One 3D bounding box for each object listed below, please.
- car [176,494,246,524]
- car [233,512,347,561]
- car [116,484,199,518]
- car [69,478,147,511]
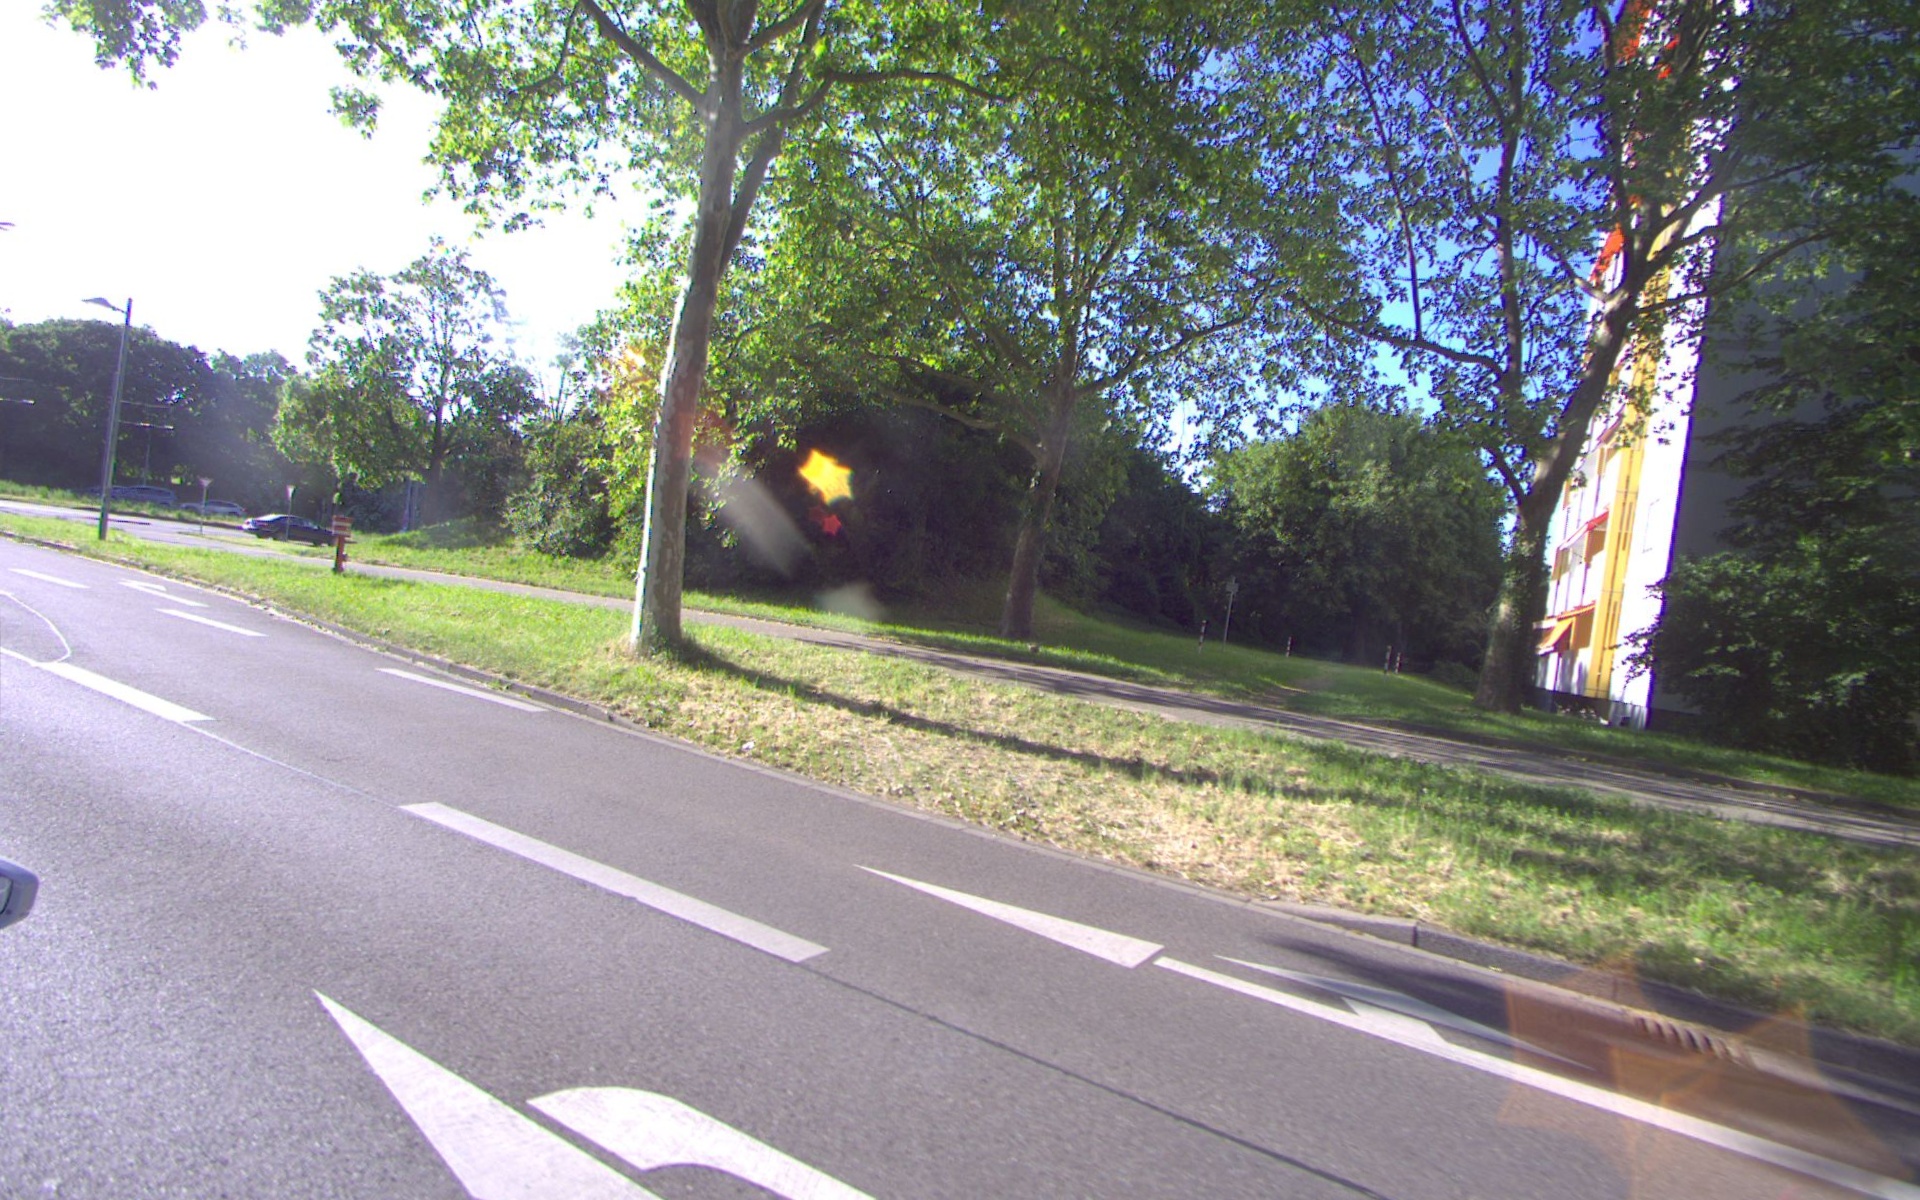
[{"bbox_3d":[-56.579,-6.862,76.101,3.963,1.513,1.845,9,-2,-33],"label":"car"},{"bbox_3d":[-36.107,-3.399,54.373,1.954,1.812,4.613,7,-2,28],"label":"car"},{"bbox_3d":[-57.362,-7.041,72.020,4.327,1.577,1.855,9,-2,-35],"label":"car"},{"bbox_3d":[-61.597,-7.593,72.822,3.963,1.579,1.883,9,-2,-33],"label":"car"}]
